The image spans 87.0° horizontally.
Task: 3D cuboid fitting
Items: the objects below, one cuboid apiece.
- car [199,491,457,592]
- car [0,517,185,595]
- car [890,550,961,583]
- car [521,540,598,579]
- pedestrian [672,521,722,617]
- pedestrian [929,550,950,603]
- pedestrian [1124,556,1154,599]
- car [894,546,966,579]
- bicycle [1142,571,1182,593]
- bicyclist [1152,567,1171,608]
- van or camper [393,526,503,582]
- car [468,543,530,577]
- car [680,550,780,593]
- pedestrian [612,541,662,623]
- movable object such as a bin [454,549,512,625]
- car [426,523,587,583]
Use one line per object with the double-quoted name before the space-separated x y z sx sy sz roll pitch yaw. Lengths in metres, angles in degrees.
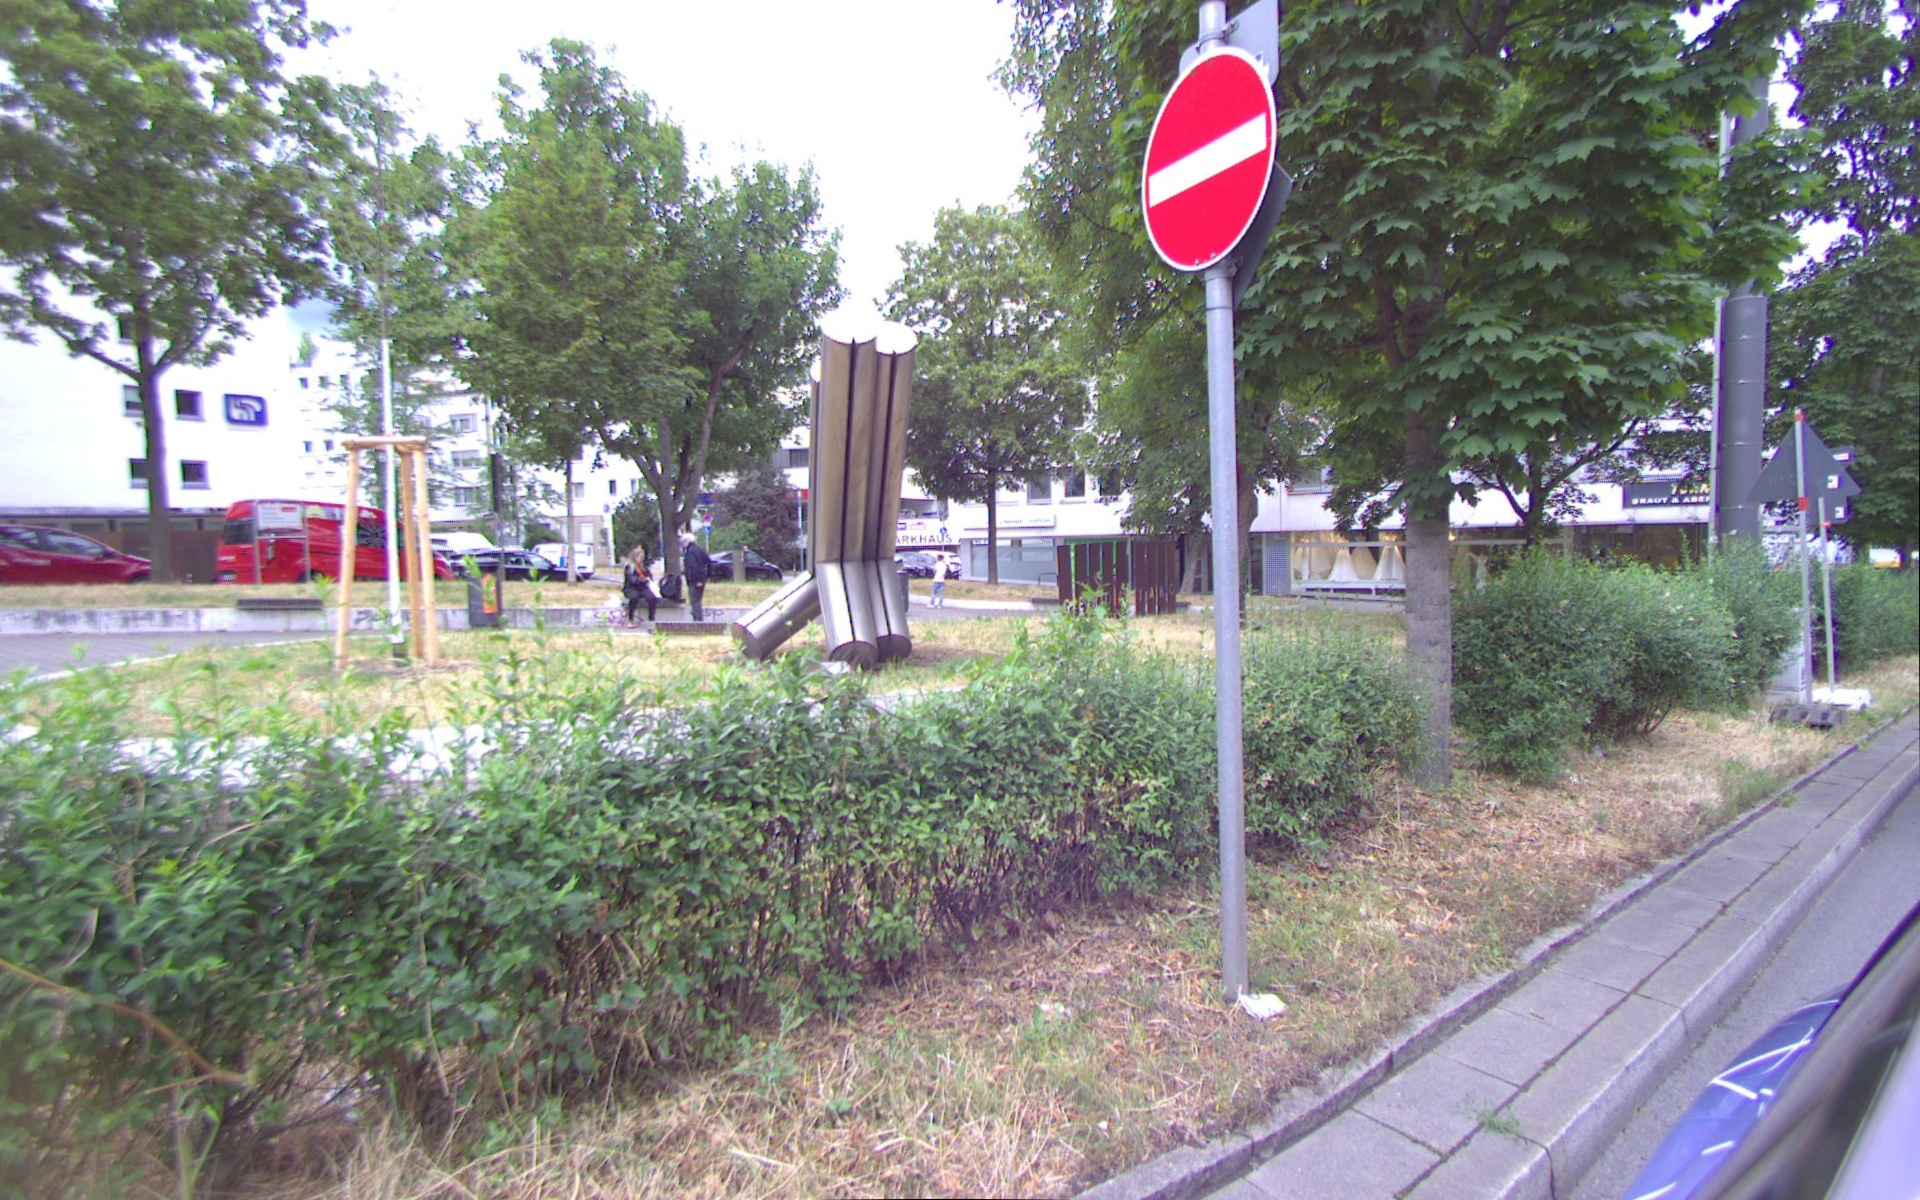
"car" -14.777 -1.327 24.063 2.004 2.053 4.949 -2 1 21
"car" -16.748 -0.776 18.432 1.600 1.295 3.896 -2 1 21
"car" -1.822 -1.758 52.776 3.348 1.669 1.588 2 2 22
"car" -22.447 -2.250 56.629 4.438 1.909 1.974 -2 1 37
"pedestrian" -4.351 -0.514 16.746 0.609 1.561 0.549 0 2 -43
"pedestrian" -0.602 -0.697 29.995 0.529 1.541 0.574 1 1 -8
"pedestrian" 7.201 -0.909 40.694 0.876 1.722 0.865 1 2 38
"car" -1.649 -2.038 55.266 3.583 1.694 1.588 2 2 22
"bicycle" 8.196 -0.736 41.119 1.534 0.869 0.513 2 2 38
"bicyclist" 8.196 -0.515 41.124 0.593 1.622 0.506 1 2 38
"van or camper" -24.161 -2.127 47.658 5.404 2.258 2.273 -2 1 35
"car" -27.586 -2.386 60.508 3.638 1.825 1.601 -2 1 33
"car" -8.969 -1.152 39.767 1.732 1.516 4.121 -2 2 22
"pedestrian" -5.338 -0.308 16.742 0.609 1.317 0.549 0 2 -43
"movable object such as a bin" -7.141 -0.194 15.157 0.599 1.095 0.670 -3 1 -40
"car" -12.857 -1.327 28.967 1.732 1.526 4.121 -2 1 22
